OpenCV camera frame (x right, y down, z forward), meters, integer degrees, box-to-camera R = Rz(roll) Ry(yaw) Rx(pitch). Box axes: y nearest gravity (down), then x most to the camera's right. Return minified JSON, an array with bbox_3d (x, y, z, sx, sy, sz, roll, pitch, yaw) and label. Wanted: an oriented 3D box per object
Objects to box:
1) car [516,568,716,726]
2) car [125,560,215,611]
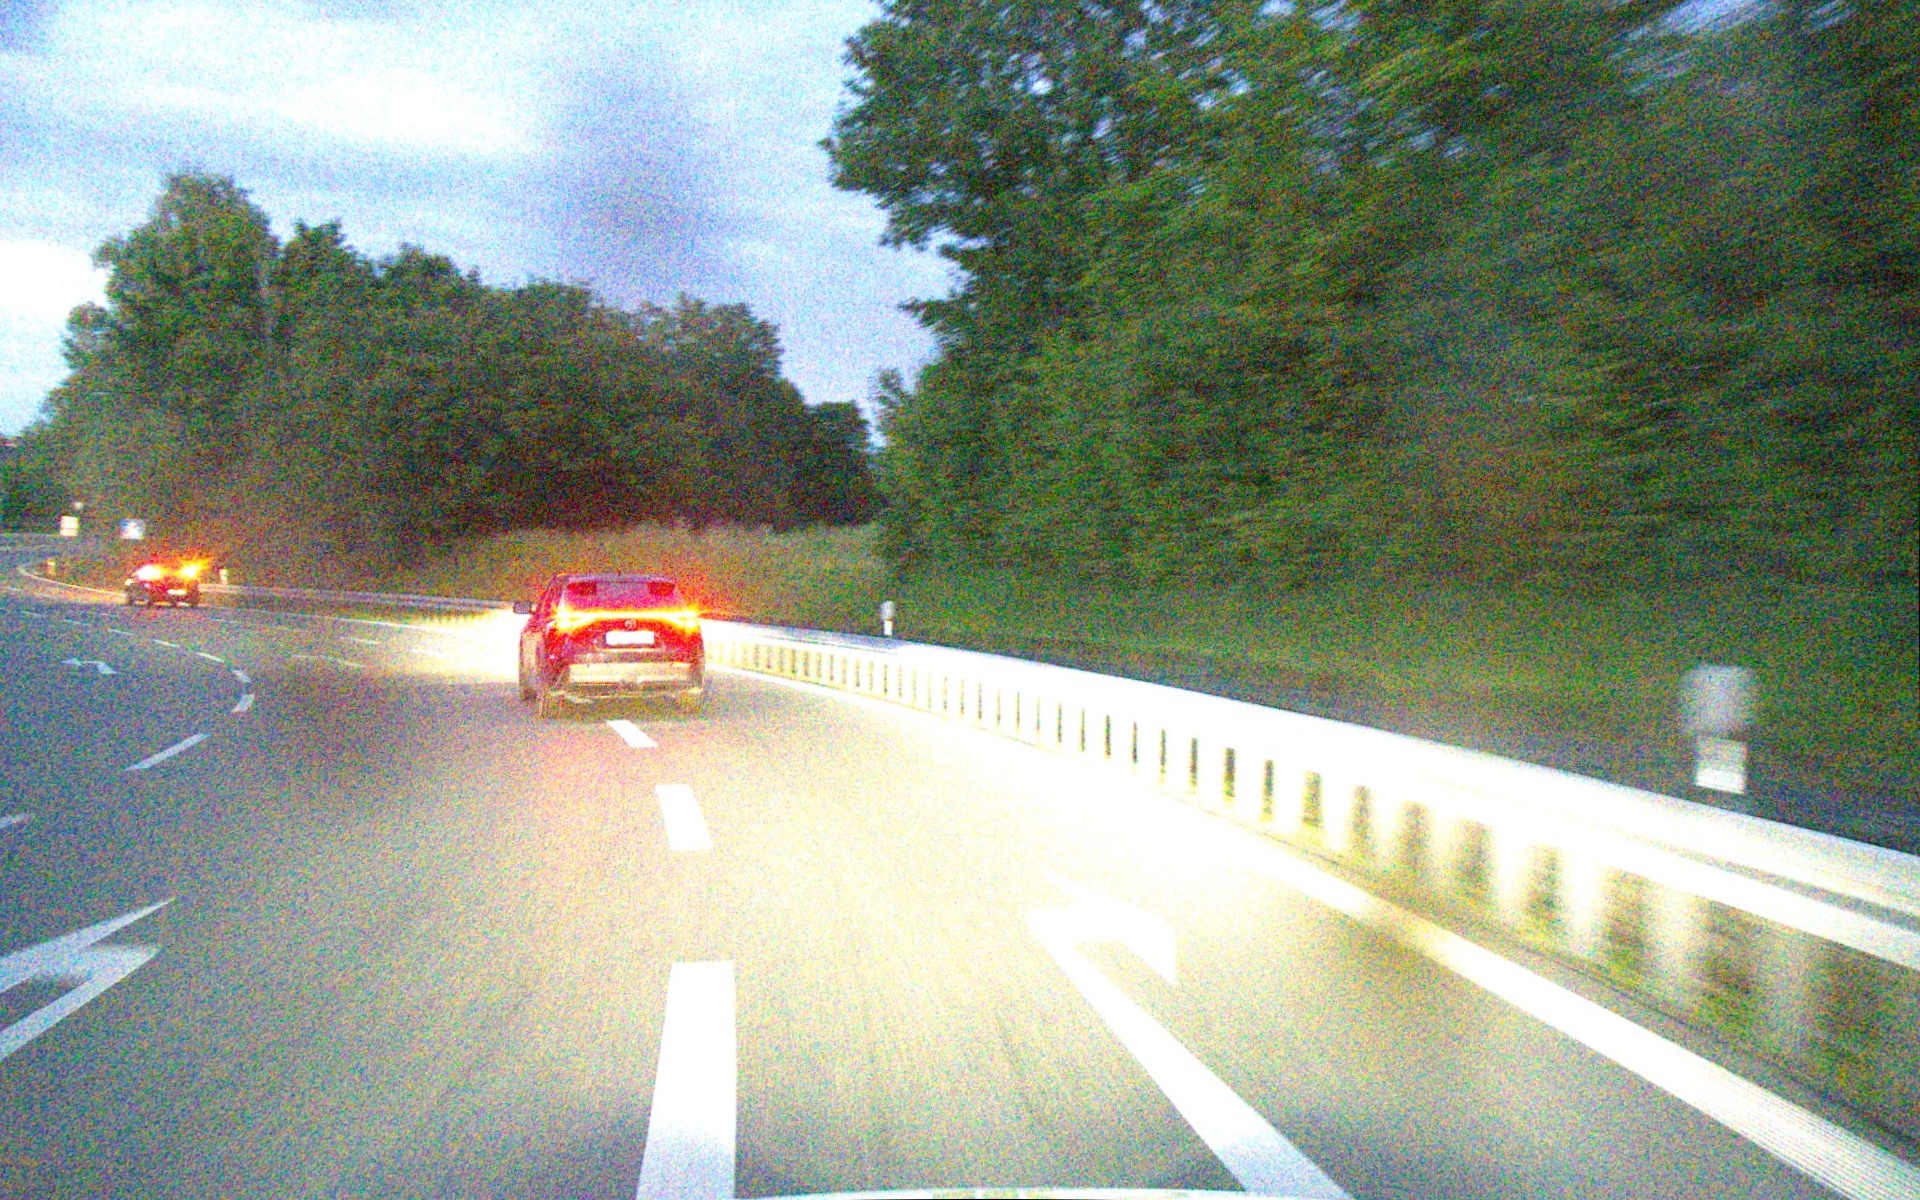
[{"bbox_3d":[-4.252,0.471,19.918,1.872,1.648,4.533,-1,1,-18],"label":"car"},{"bbox_3d":[-27.426,-0.493,57.368,1.772,1.682,3.938,1,0,-42],"label":"car"}]
